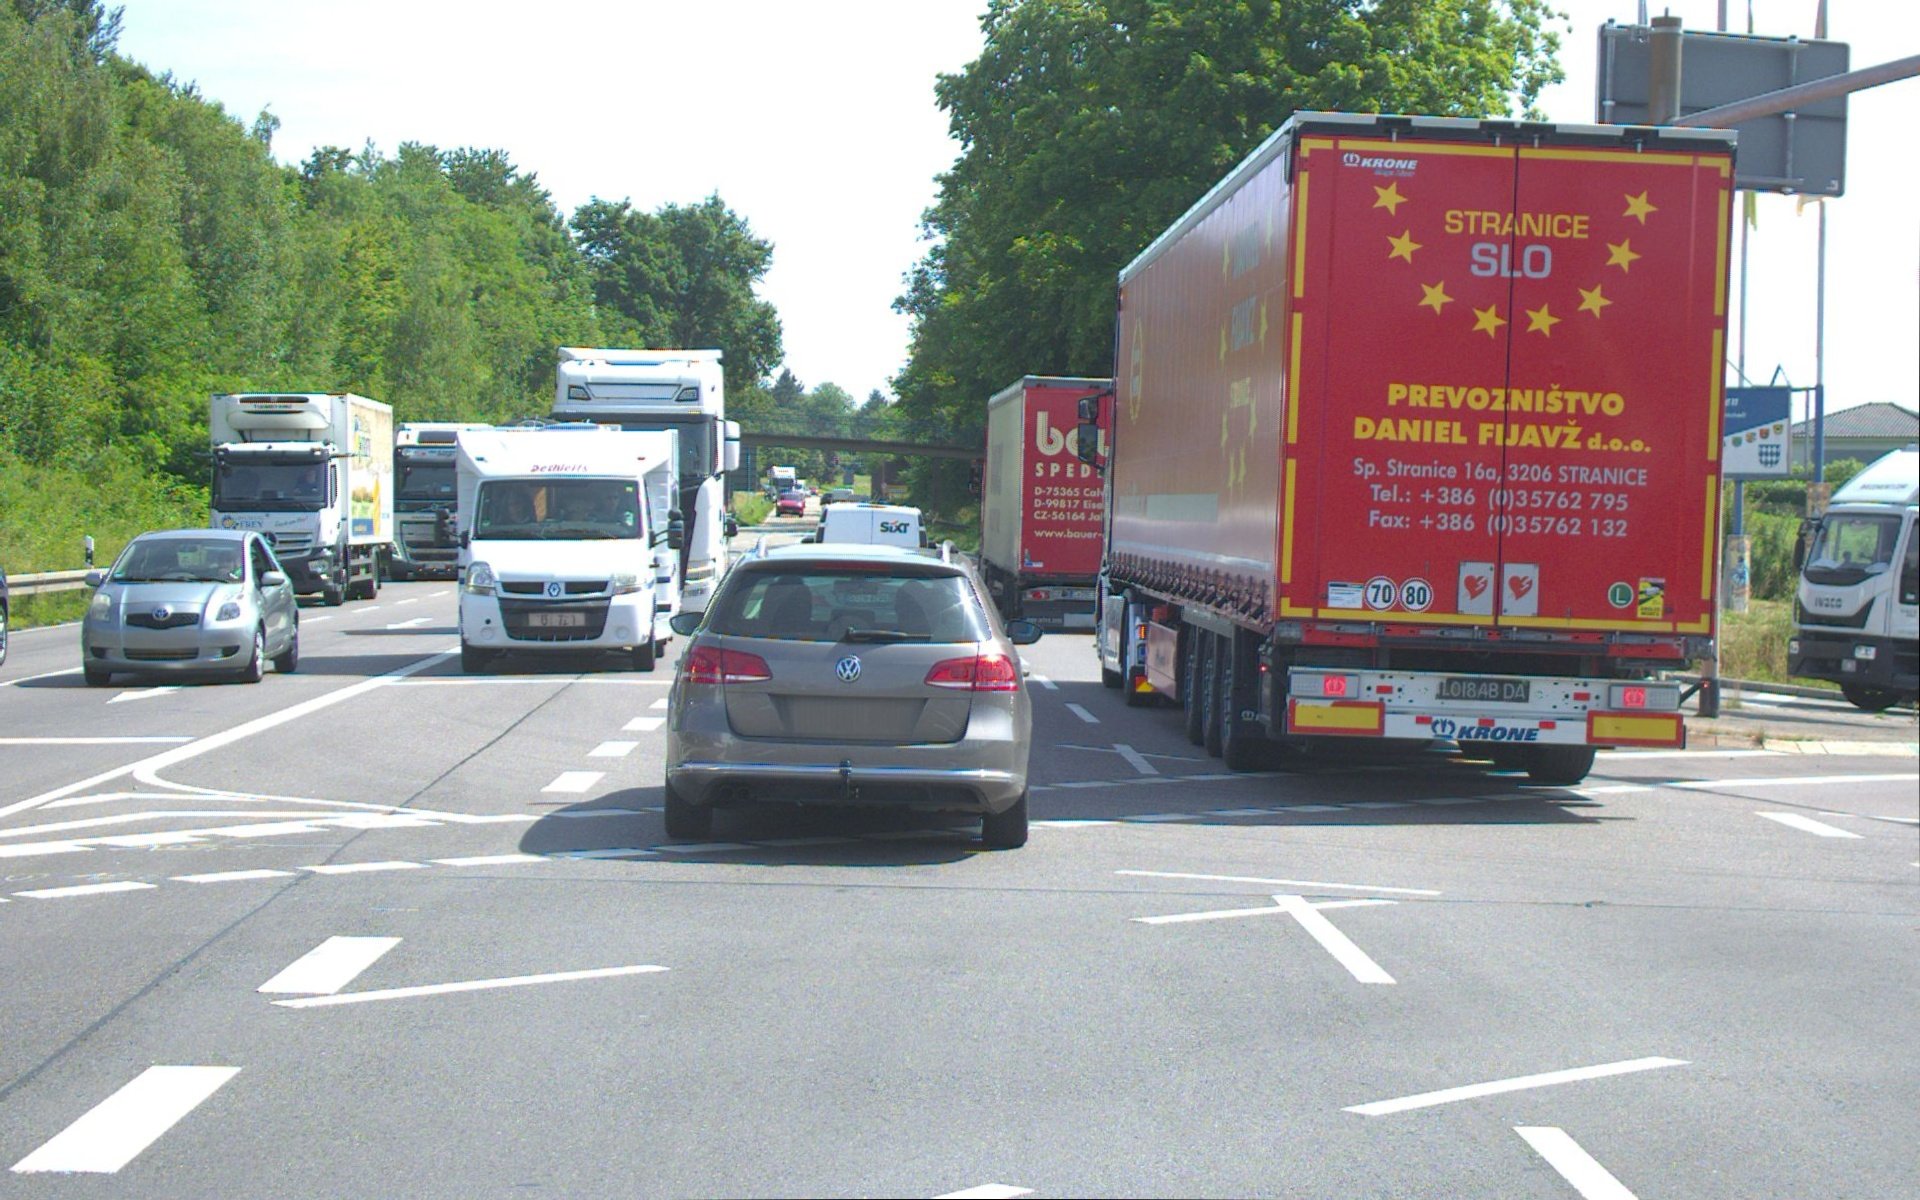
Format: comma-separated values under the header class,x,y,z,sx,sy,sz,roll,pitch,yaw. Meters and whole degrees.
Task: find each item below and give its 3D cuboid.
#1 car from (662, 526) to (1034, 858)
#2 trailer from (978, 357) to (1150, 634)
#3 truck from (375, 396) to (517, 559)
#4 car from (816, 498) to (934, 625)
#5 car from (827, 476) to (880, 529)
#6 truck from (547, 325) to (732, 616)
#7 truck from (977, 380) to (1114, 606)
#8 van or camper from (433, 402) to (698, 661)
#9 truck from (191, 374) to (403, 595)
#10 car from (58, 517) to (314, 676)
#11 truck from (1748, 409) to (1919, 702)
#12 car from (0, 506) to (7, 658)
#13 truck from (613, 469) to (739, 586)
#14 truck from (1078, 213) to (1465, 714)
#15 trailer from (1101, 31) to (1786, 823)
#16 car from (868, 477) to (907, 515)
class,x,y,z,sx,sy,sz,roll,pitch,yaw
car,-0.609,0.376,17.672,1.691,1.508,4.001,0,1,-3
trailer,1.621,-1.735,59.081,2.395,4.228,13.079,0,1,-1
truck,-13.586,-3.188,91.526,2.829,4.102,9.684,0,1,-3
car,-1.385,-0.634,54.650,1.770,1.930,3.978,0,1,-3
car,-4.130,-3.745,132.947,1.993,2.007,4.001,0,1,-3
truck,-4.705,-1.887,51.385,2.536,4.073,6.267,0,1,-3
truck,1.577,-2.019,65.505,2.406,4.113,5.521,0,1,-1
van or camper,-4.230,-0.759,38.007,2.330,2.591,6.980,0,1,-2
truck,-12.789,-2.193,67.072,2.729,3.985,9.621,0,1,-3
car,-7.686,-0.079,34.479,1.725,1.497,4.000,0,1,-1
truck,15.609,-0.204,45.781,9.667,3.615,2.768,5,0,-18
car,-11.305,-0.164,35.943,1.993,1.671,4.308,0,1,-7
truck,-5.678,-1.472,69.568,2.227,2.260,6.501,0,1,-2
truck,2.820,-1.256,32.948,2.870,4.266,5.840,2,1,-1
trailer,2.990,-1.114,25.945,2.839,4.350,13.169,2,1,-1
car,-3.952,-5.655,187.367,1.993,2.007,4.001,0,1,-3
